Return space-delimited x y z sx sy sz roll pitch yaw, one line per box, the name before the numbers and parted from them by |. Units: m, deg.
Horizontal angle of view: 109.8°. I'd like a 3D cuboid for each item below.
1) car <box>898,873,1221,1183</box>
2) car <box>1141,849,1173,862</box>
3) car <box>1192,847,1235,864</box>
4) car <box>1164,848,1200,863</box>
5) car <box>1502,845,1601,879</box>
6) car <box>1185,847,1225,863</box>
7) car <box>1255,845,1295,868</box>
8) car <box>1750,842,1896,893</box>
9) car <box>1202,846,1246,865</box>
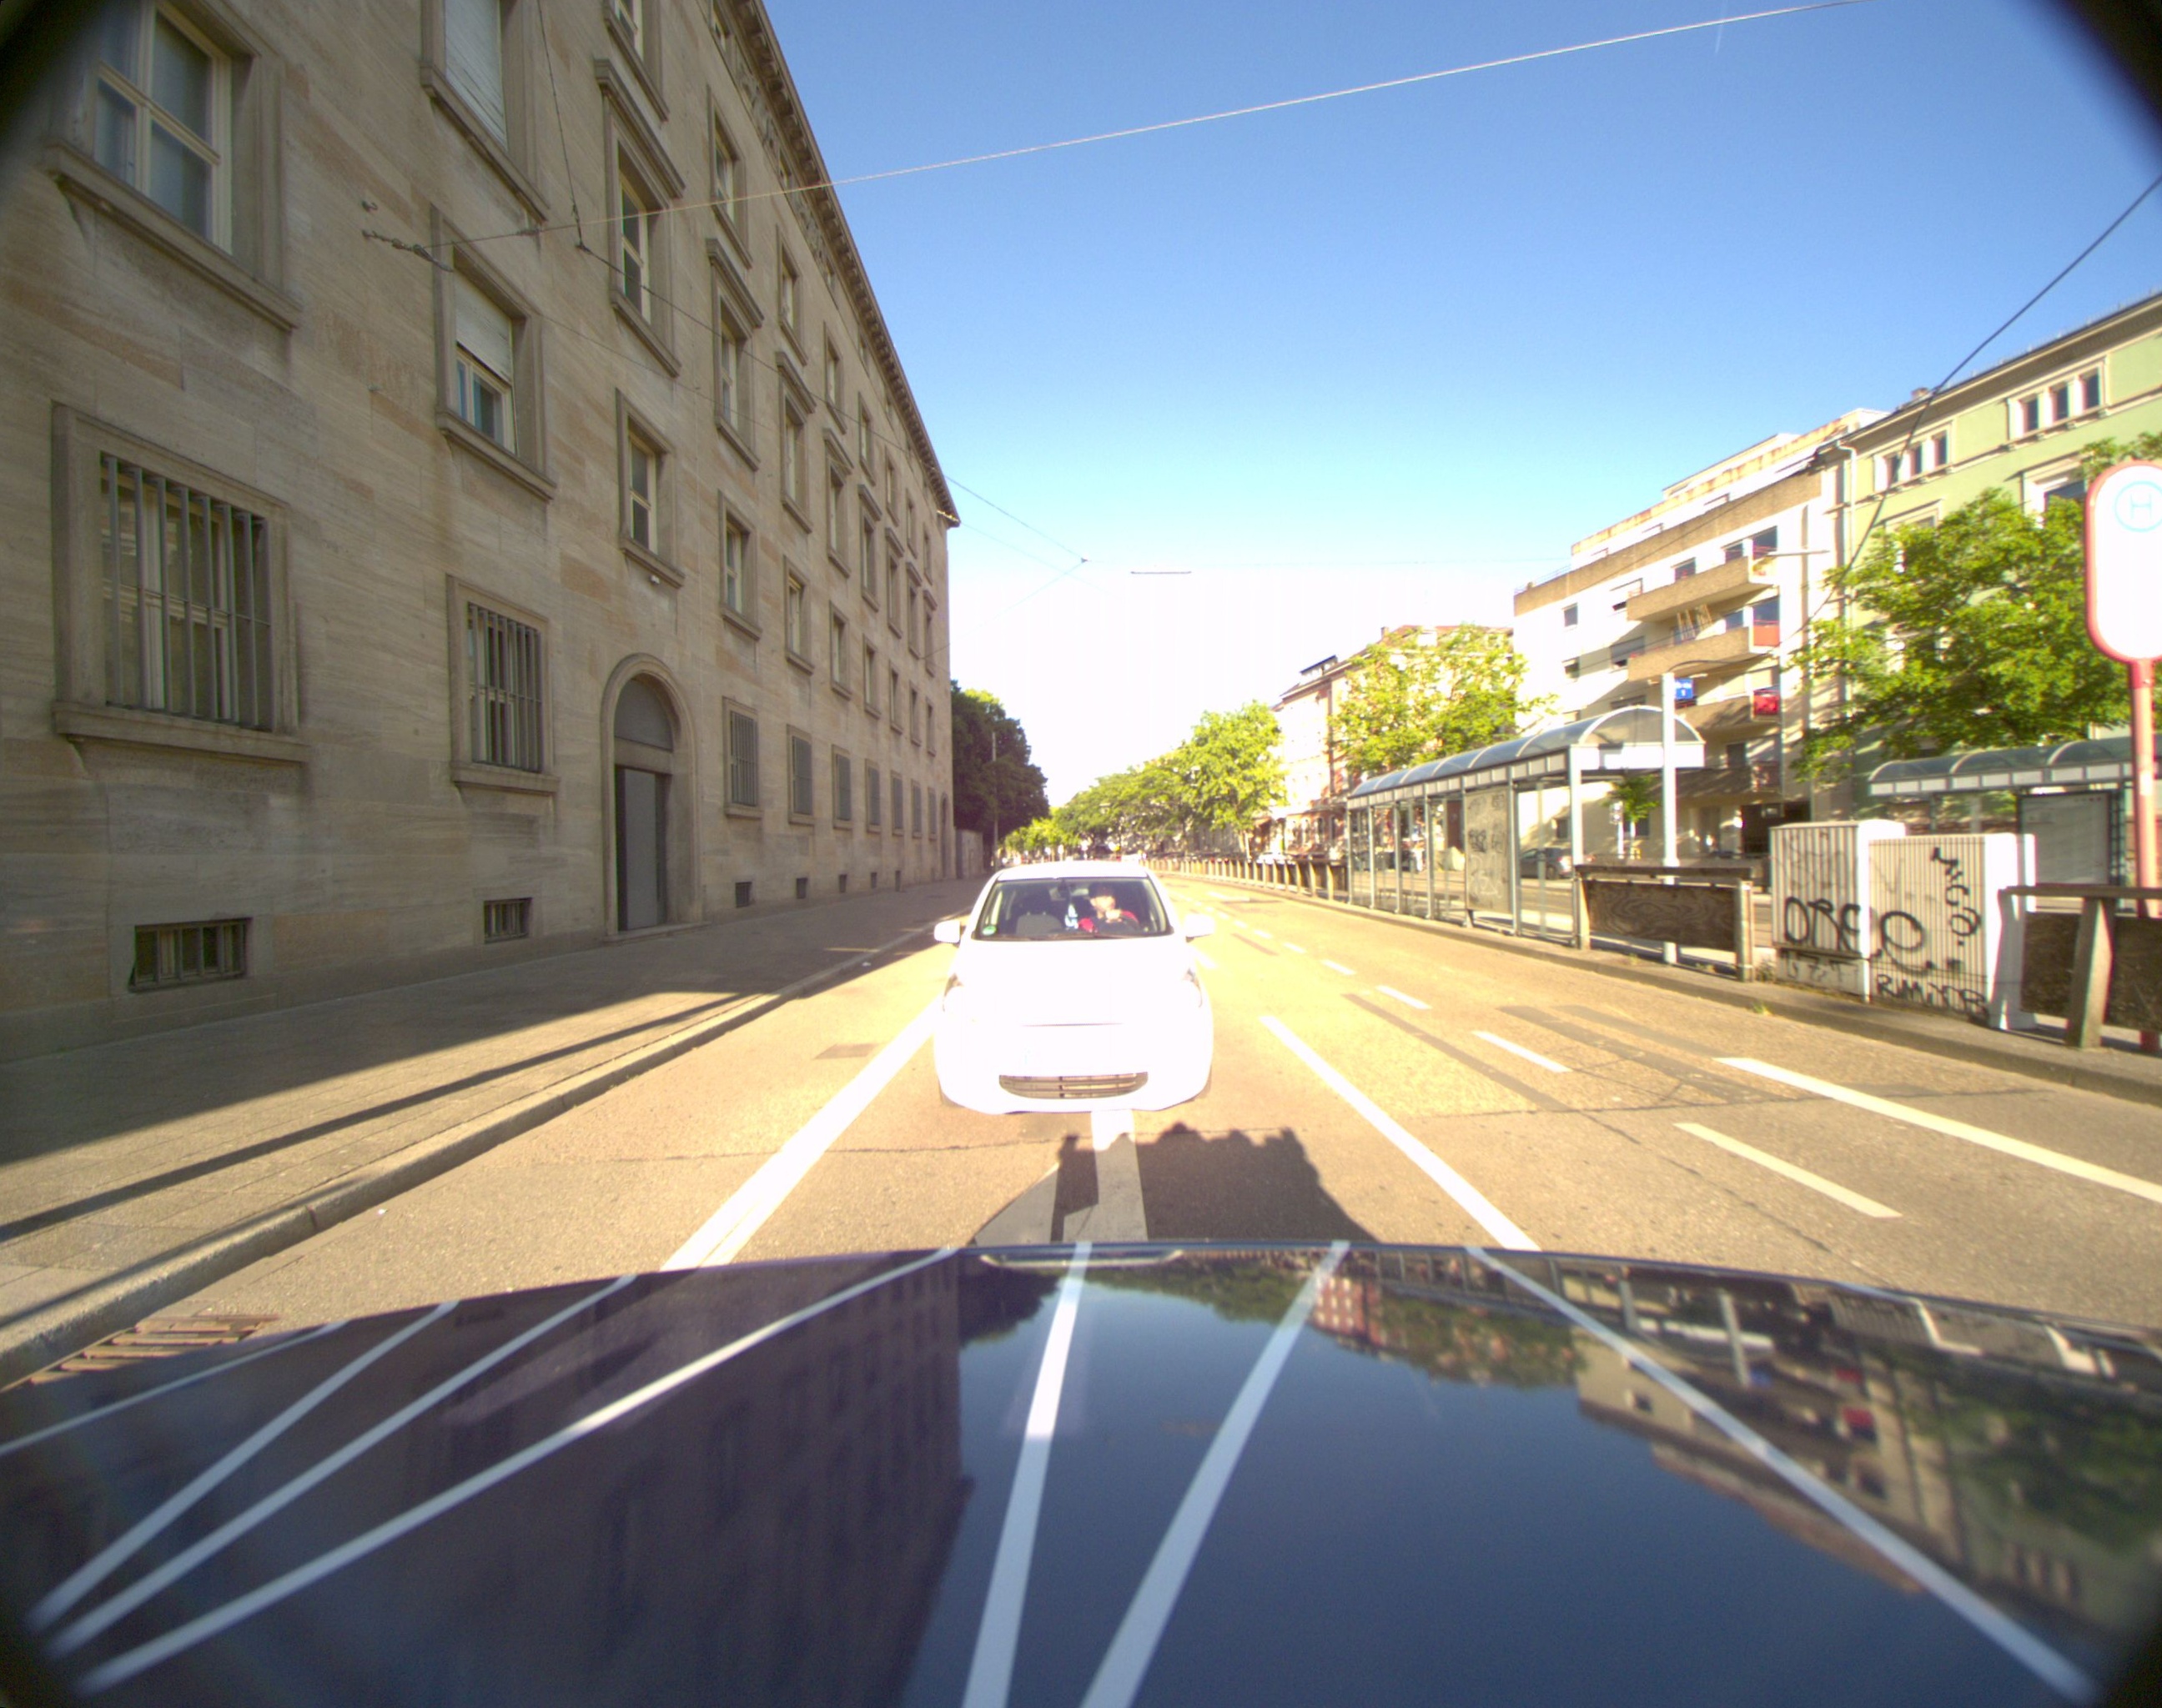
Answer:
car | -0.083 0.934 5.688 1.612 1.450 3.667 -1 0 1
car | 9.559 0.163 95.703 3.864 1.583 2.001 -1 0 4
car | 13.346 0.143 76.714 3.996 1.674 2.000 -1 0 4
car | 11.432 0.175 86.077 3.864 1.583 2.001 -1 0 5
car | 20.841 0.338 33.822 1.615 1.387 3.516 -1 0 -19
car | 13.153 0.115 80.517 3.996 1.674 2.000 -1 0 4
car | 16.300 0.191 63.665 1.994 1.713 4.007 0 2 34
car | 23.930 0.390 24.538 3.796 1.526 1.772 -1 0 -17
car | 13.632 0.157 72.580 3.996 1.674 2.000 -1 0 4
